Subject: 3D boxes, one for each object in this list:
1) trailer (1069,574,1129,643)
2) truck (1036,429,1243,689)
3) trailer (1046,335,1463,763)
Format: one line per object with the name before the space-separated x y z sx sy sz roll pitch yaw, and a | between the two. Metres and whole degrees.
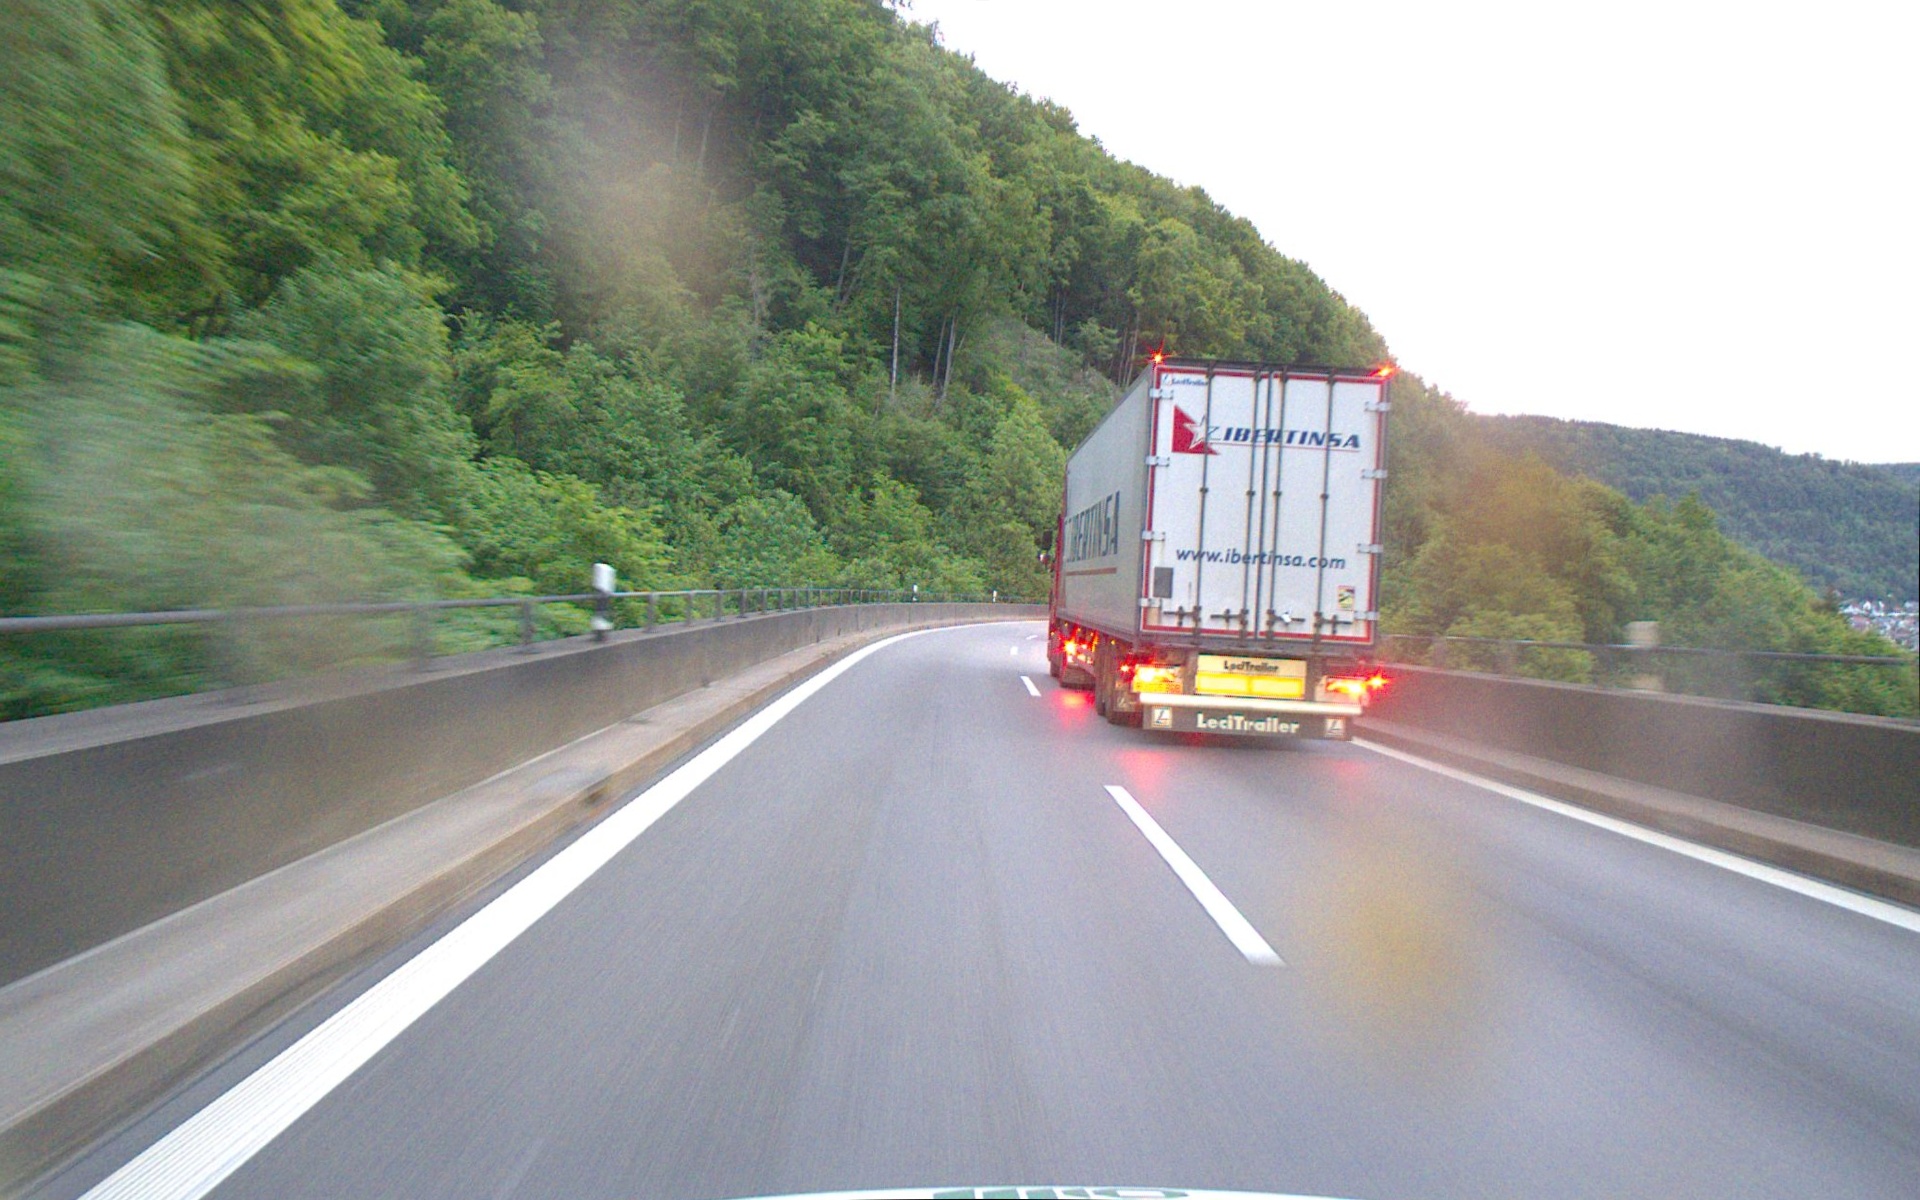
trailer | 5.515 0.276 65.321 2.012 2.415 5.942 6 1 5
truck | 3.139 -0.683 30.771 3.006 4.217 6.446 -2 0 0
trailer | 3.292 -0.500 23.471 3.034 4.039 14.215 4 0 -1
